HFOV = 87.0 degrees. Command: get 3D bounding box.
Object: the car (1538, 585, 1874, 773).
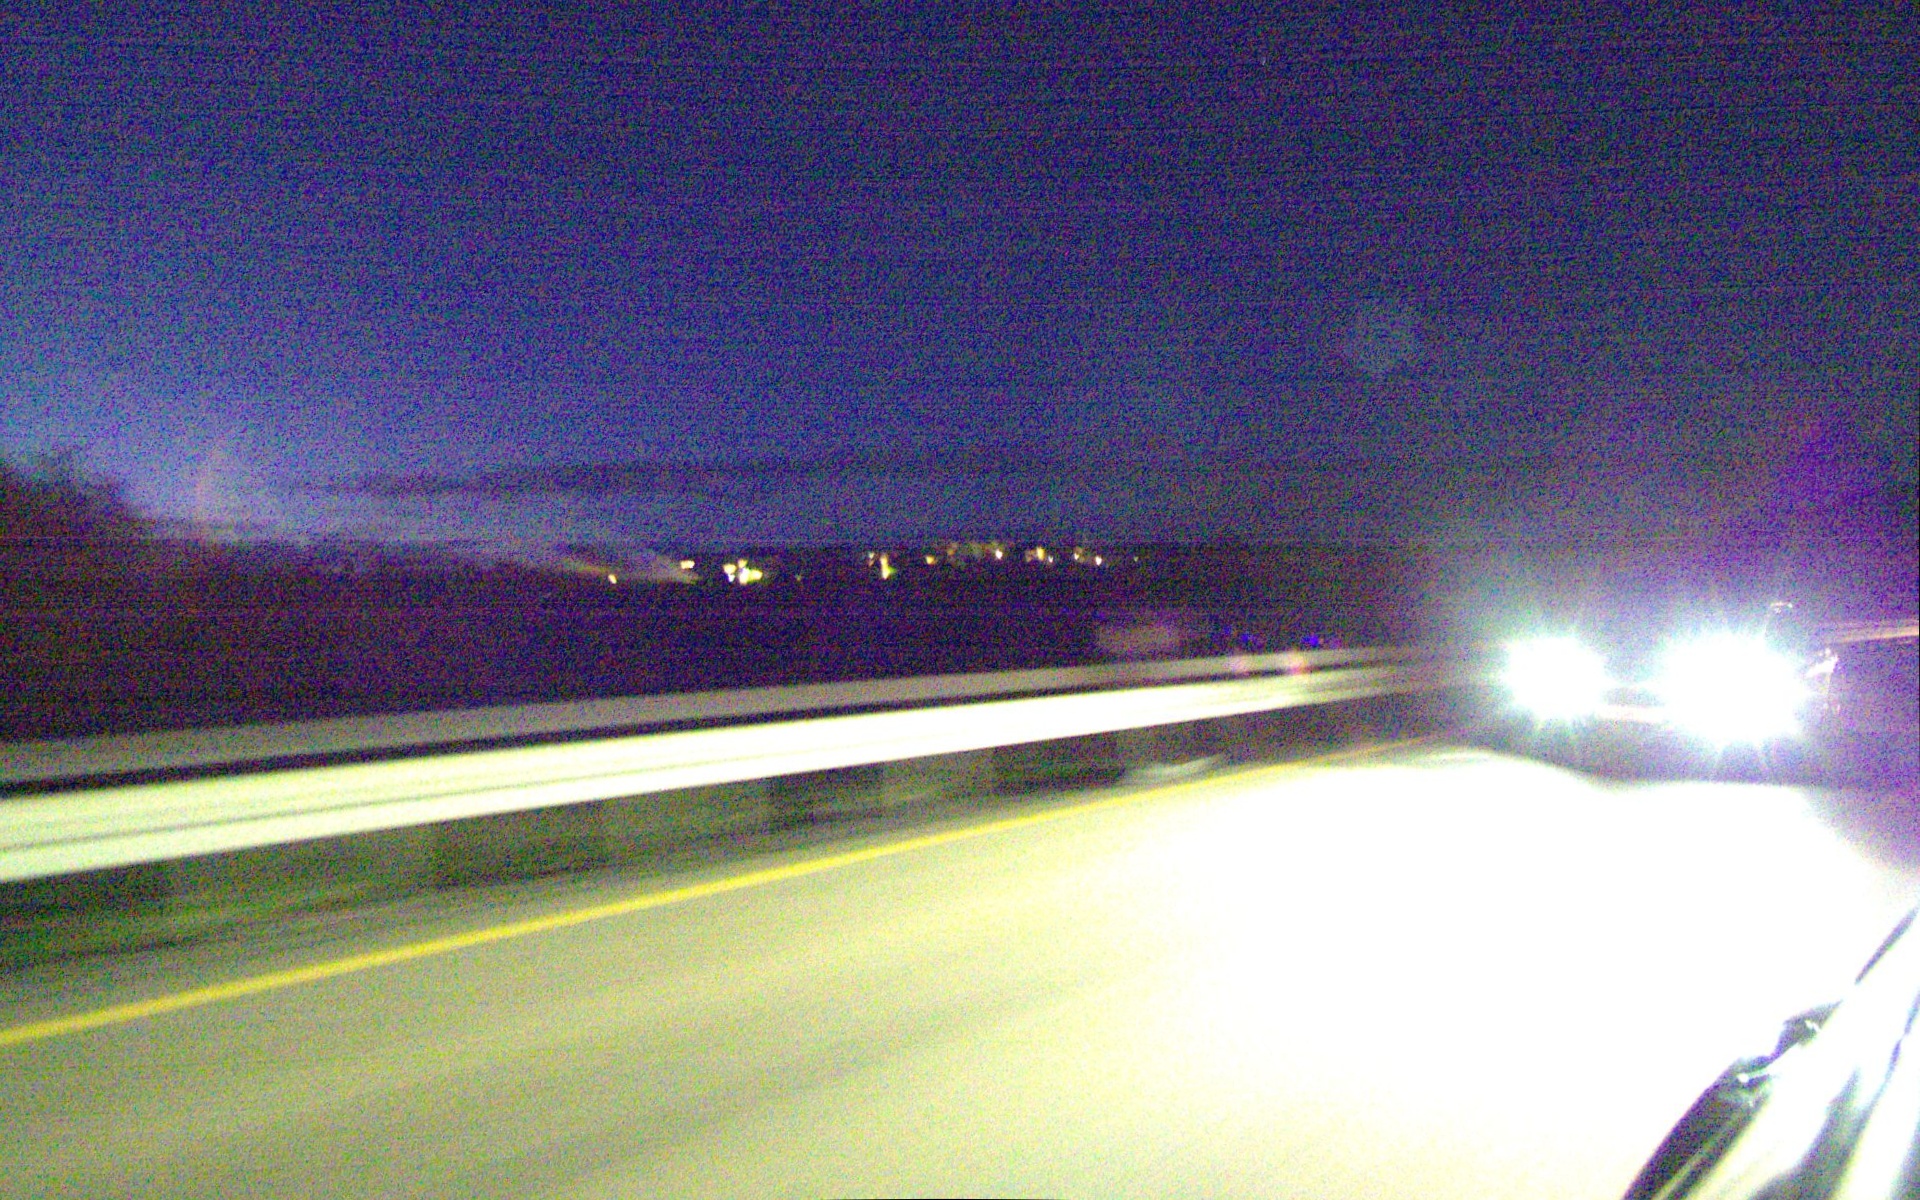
[{"bbox_3d":[7.840,0.607,10.438,4.790,1.444,1.811,-2,2,-41],"label":"car"}]
